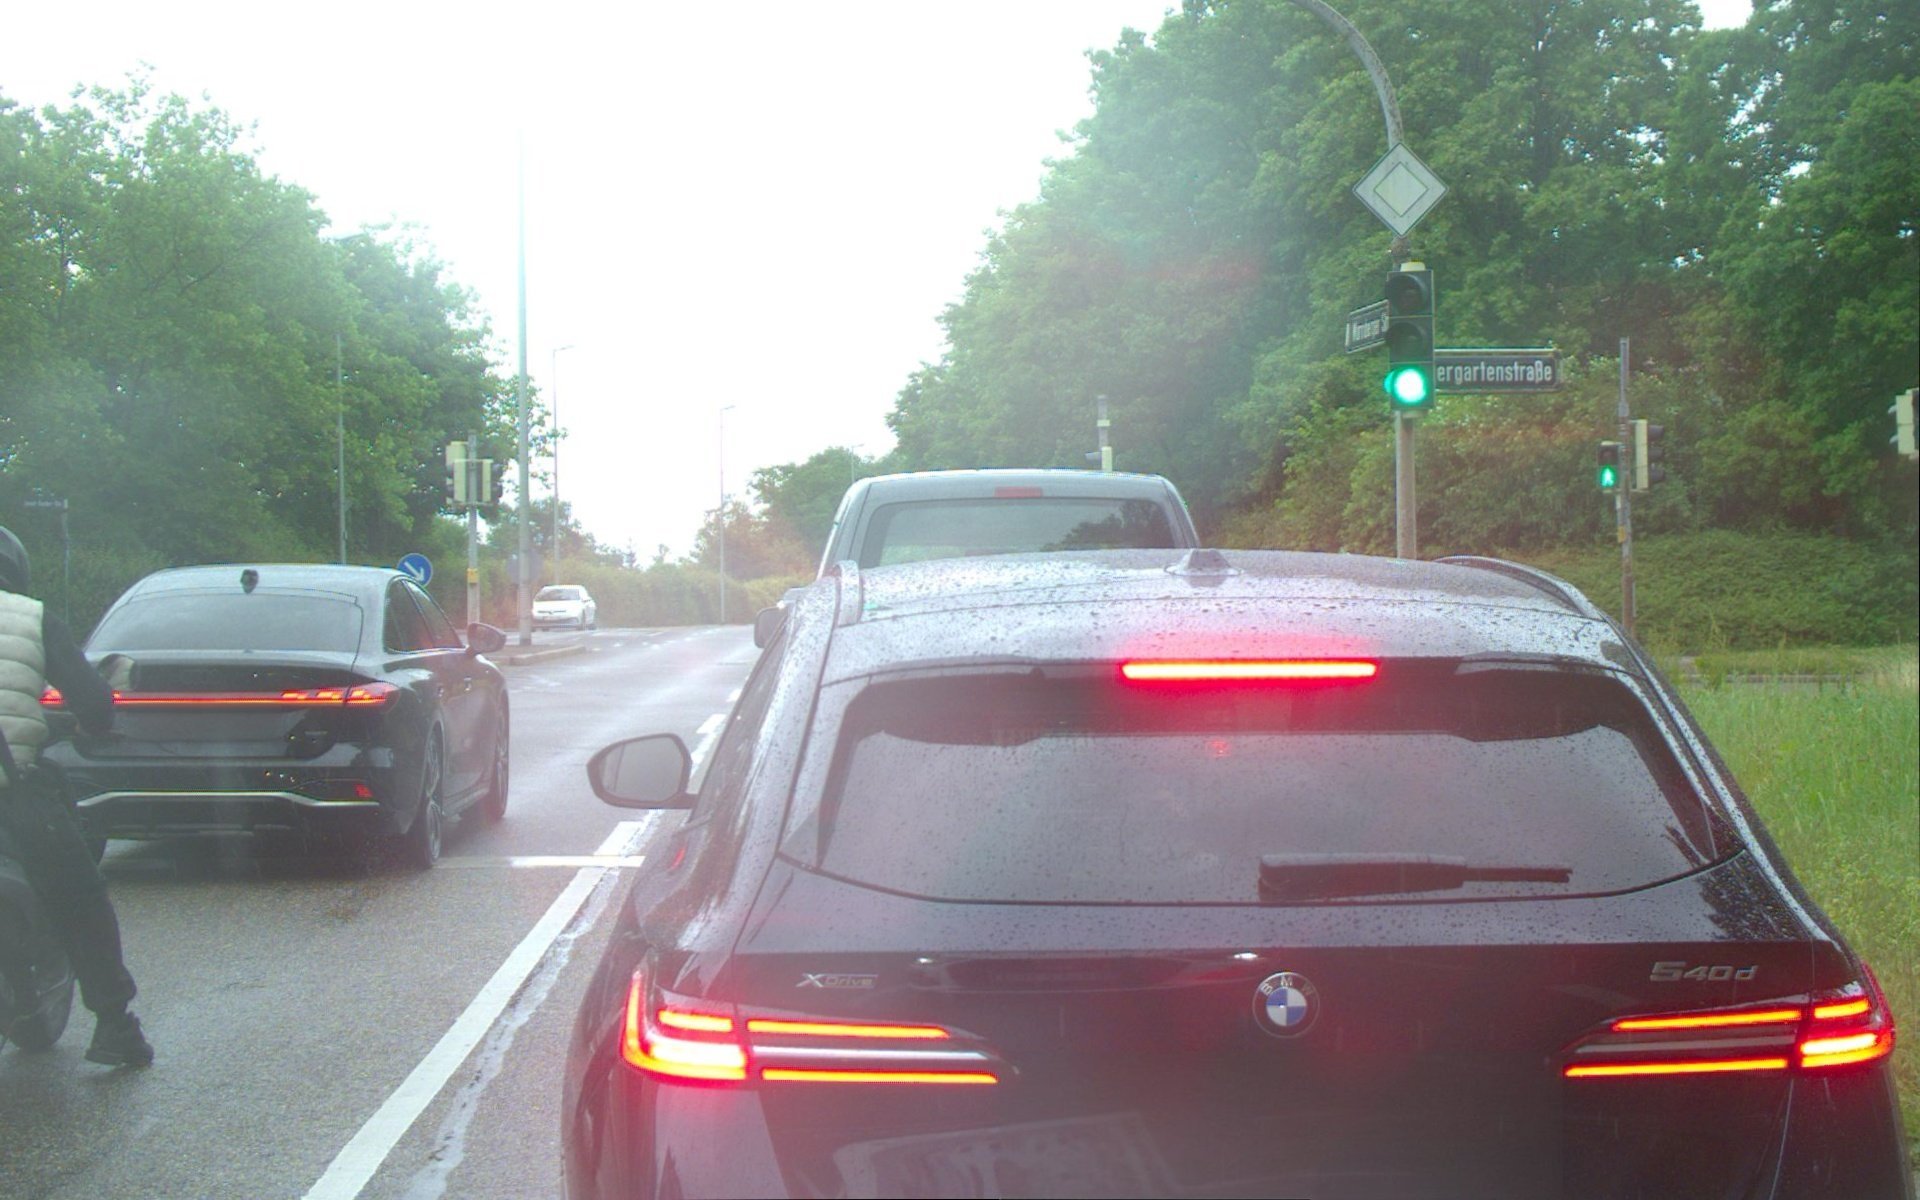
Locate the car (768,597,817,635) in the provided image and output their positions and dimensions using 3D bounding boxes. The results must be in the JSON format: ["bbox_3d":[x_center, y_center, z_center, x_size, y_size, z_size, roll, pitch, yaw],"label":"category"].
[{"bbox_3d":[-7.264,0.694,149.439,2.025,1.558,3.877,-2,0,-2],"label":"car"}]

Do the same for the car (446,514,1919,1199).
[{"bbox_3d":[0.253,0.662,5.912,1.764,1.531,3.673,0,0,-1],"label":"car"}]

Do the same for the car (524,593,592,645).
[{"bbox_3d":[-12.697,0.583,108.855,1.727,1.480,4.157,-2,1,-2],"label":"car"}]

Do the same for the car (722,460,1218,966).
[{"bbox_3d":[0.012,0.359,14.251,1.767,1.804,3.905,0,1,-1],"label":"car"}]

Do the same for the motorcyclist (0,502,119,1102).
[{"bbox_3d":[-2.839,0.549,9.620,0.845,1.641,0.468,0,1,-1],"label":"motorcyclist"}]

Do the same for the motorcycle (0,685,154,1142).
[{"bbox_3d":[-2.781,0.826,9.582,0.741,1.116,1.426,1,1,-1],"label":"motorcycle"}]

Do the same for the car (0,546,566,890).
[{"bbox_3d":[-3.167,0.468,16.815,2.014,1.410,4.487,0,1,-1],"label":"car"}]
